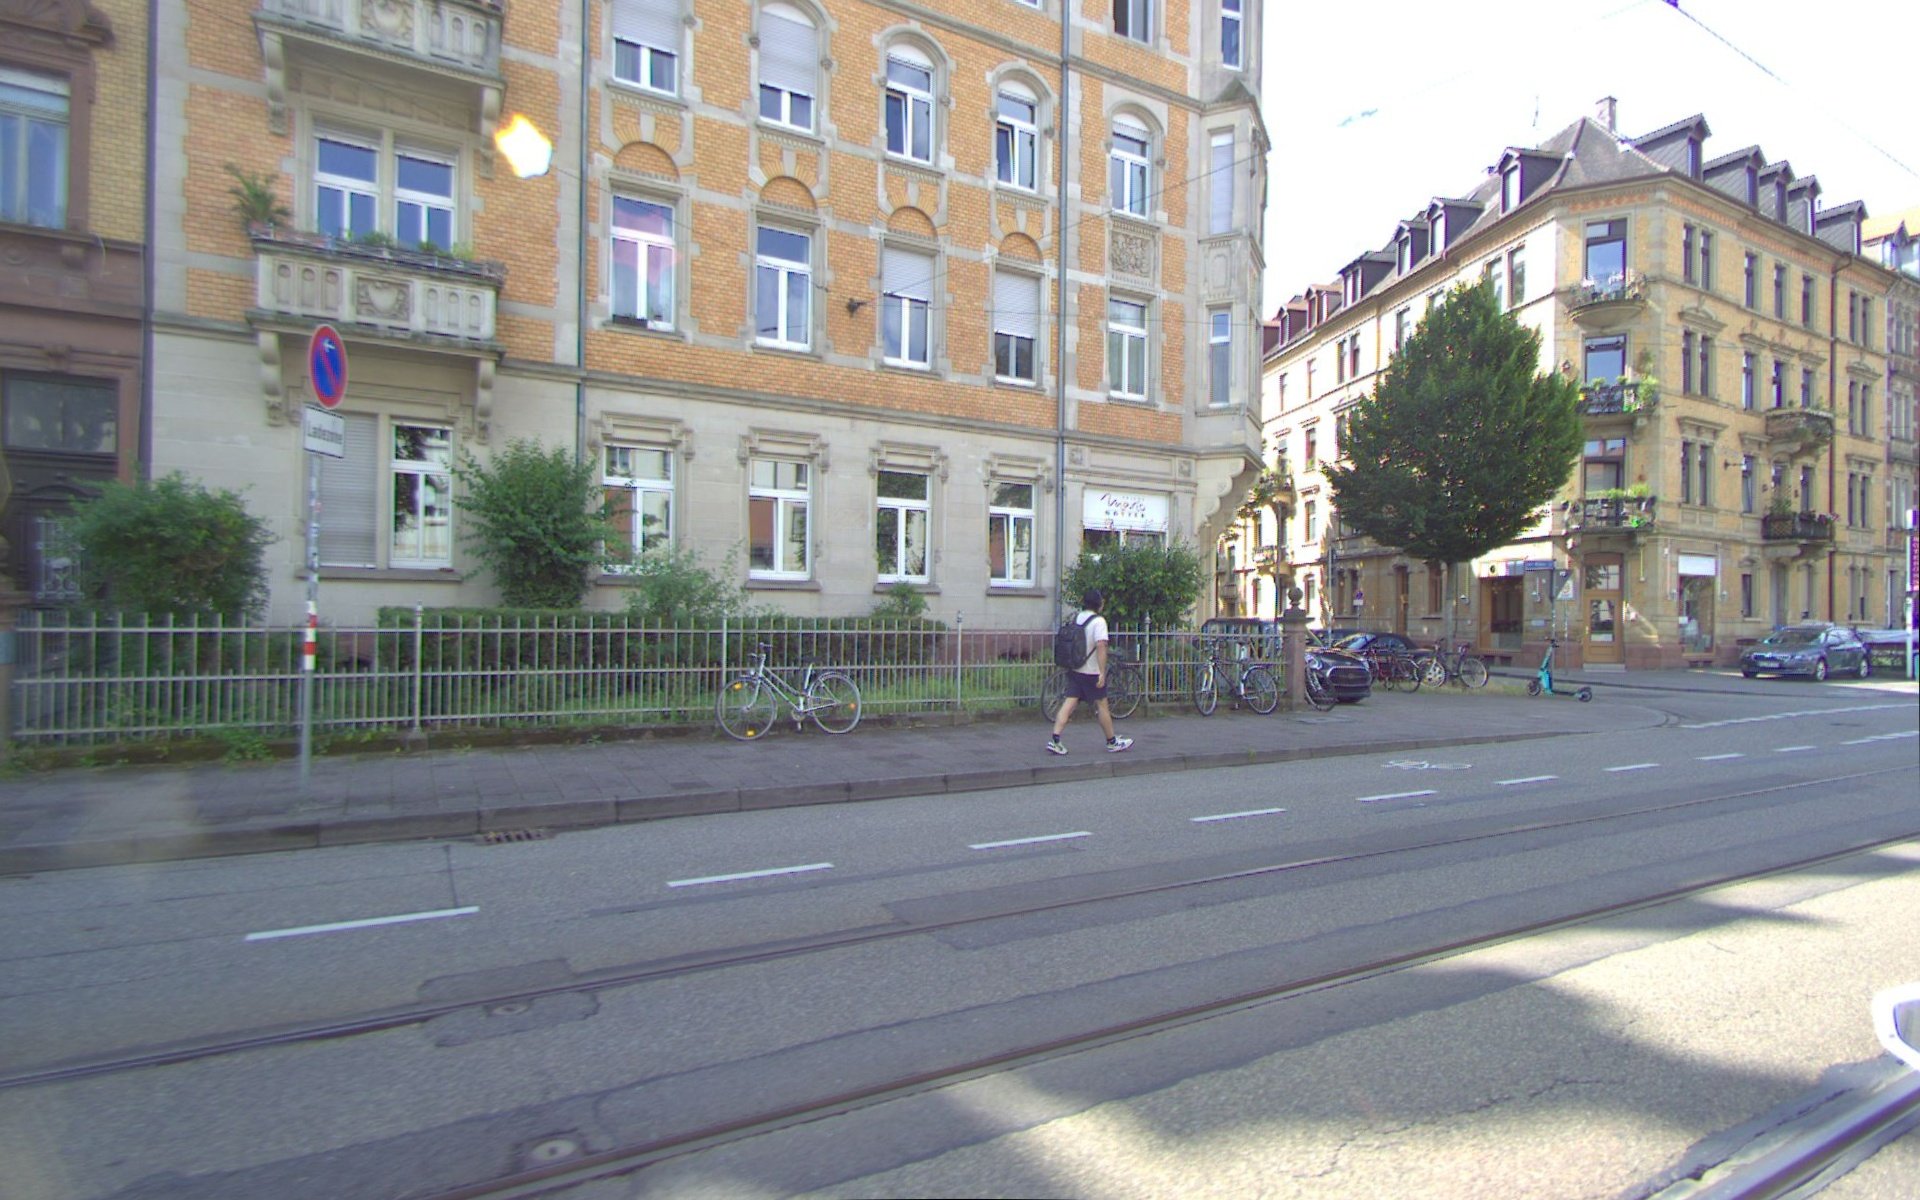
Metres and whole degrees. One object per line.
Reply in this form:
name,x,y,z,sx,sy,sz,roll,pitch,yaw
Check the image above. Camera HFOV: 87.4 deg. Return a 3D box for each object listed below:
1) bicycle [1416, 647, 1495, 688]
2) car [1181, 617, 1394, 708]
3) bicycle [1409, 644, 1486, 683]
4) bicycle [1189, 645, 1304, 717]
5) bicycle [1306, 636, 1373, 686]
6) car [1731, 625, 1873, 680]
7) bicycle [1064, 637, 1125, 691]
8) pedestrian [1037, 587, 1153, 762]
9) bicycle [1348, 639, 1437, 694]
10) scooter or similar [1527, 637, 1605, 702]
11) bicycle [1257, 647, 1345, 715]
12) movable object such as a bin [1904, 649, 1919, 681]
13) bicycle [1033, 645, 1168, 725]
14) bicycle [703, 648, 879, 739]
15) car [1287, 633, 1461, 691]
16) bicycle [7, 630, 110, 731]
bicycle,10.907,1.485,22.120,1.670,0.849,0.523,0,0,-17
car,5.875,1.059,18.433,1.762,1.421,3.592,1,0,-25
bicycle,11.078,1.434,22.840,1.670,0.849,0.523,0,0,-17
bicycle,4.226,1.172,14.760,1.926,0.989,0.419,1,-1,-31
bicycle,8.748,1.384,23.213,0.516,1.078,1.691,0,0,-19
car,24.641,1.510,29.363,4.708,1.478,1.678,1,-1,-30
bicycle,2.625,1.242,19.705,0.399,0.989,1.446,1,-1,-29
pedestrian,1.457,0.773,10.800,1.093,1.784,0.530,1,1,-30
bicycle,9.138,1.390,21.293,0.519,1.078,1.742,0,-1,-34
scooter or similar,12.466,1.411,20.683,1.342,1.251,0.403,1,0,33
bicycle,5.428,1.272,16.048,0.399,0.989,1.446,1,-1,-29
movable object such as a bin,27.523,1.863,28.797,0.629,0.918,0.522,1,-1,-31
bicycle,1.887,1.099,13.336,1.926,0.989,0.419,1,-1,-31
bicycle,-1.870,1.023,11.301,1.926,0.945,0.419,1,-1,-31
car,10.498,1.545,25.581,3.857,1.378,1.641,1,-1,-11
bicycle,-9.542,0.809,10.686,0.418,0.945,1.933,1,-1,-30
